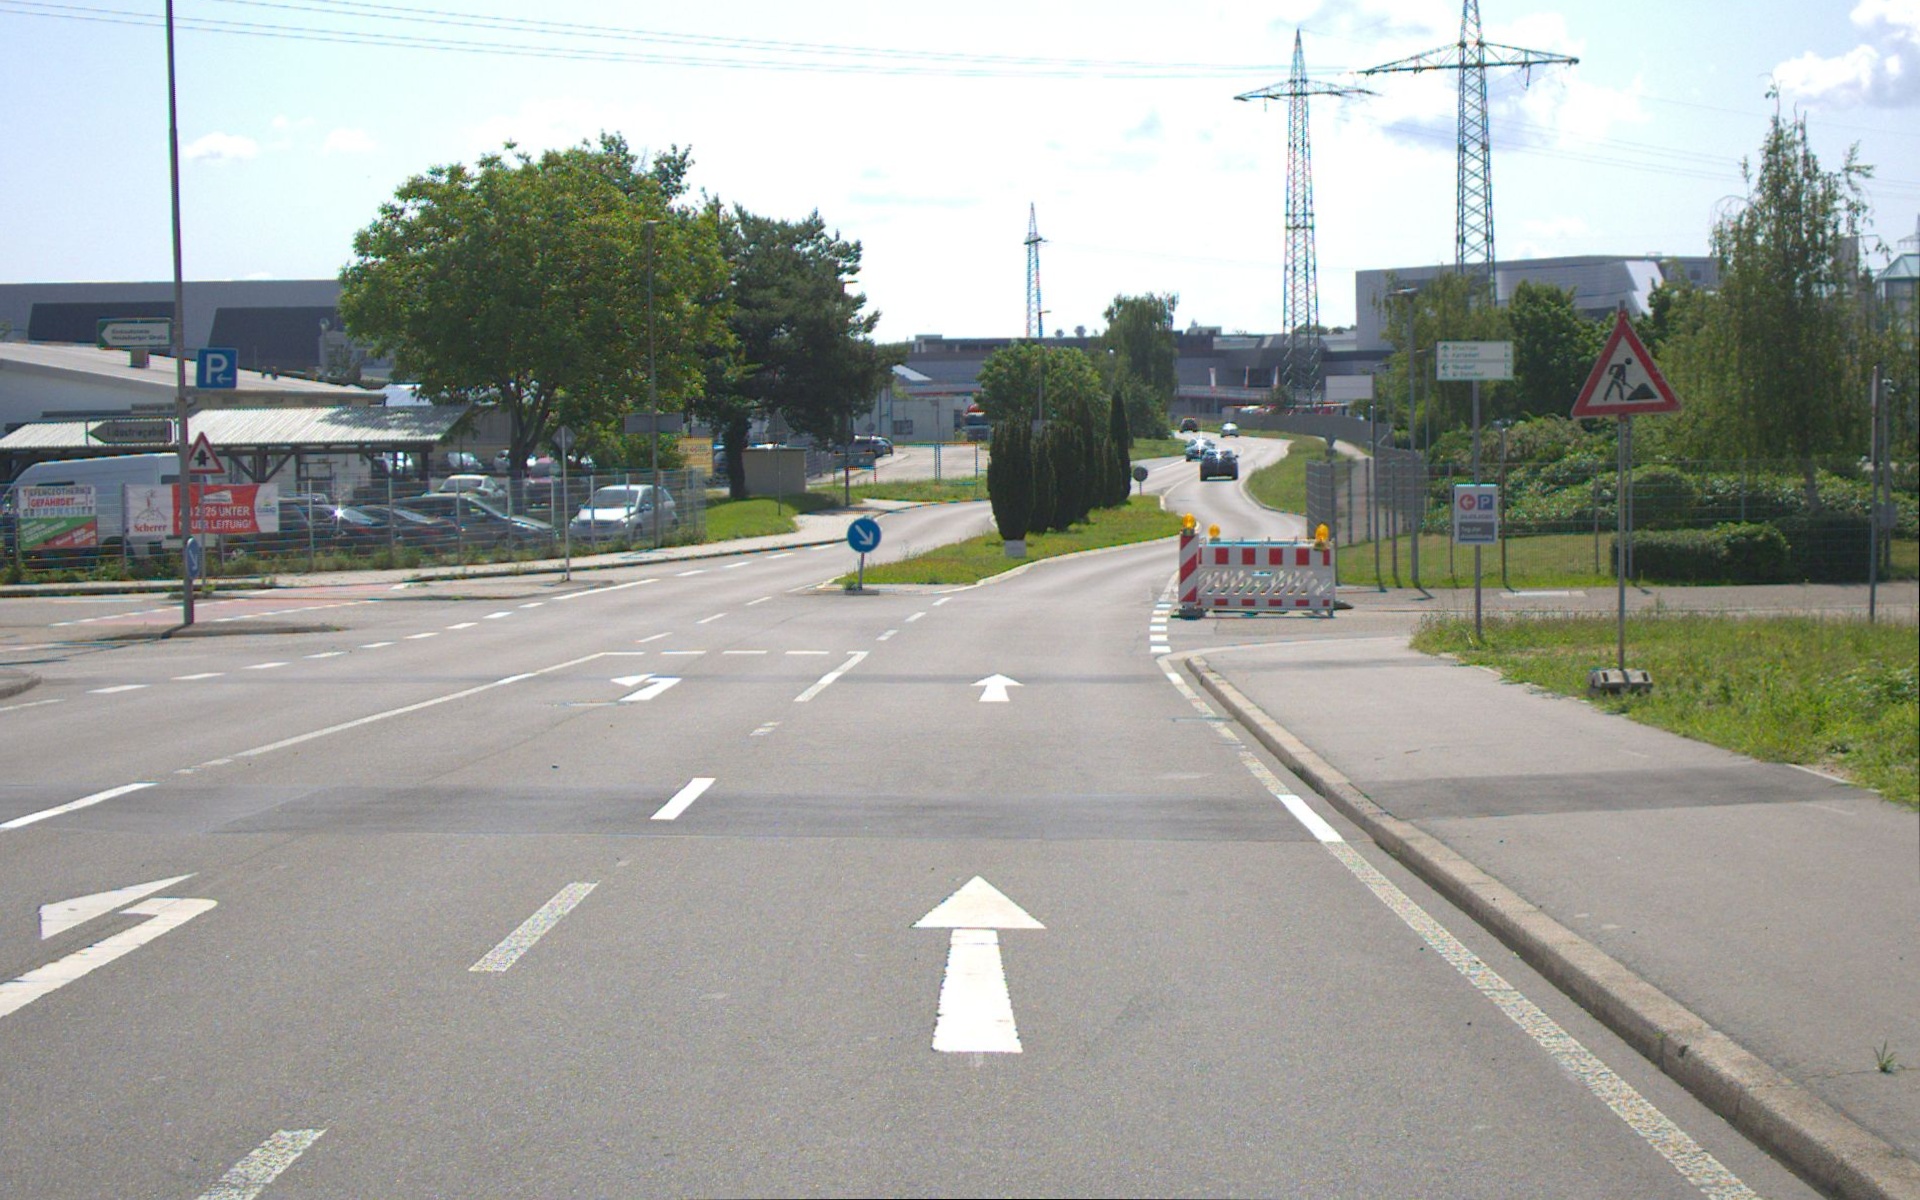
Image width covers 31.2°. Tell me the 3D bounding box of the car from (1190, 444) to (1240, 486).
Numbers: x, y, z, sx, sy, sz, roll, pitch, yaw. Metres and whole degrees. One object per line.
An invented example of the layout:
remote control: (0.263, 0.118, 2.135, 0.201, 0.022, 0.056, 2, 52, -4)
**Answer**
car: (12.544, -6.675, 169.583, 2.272, 1.940, 4.665, 3, 3, 3)

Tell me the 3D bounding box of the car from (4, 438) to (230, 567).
car: (-17.488, -2.008, 71.274, 4.358, 2.599, 1.997, 1, 2, 30)

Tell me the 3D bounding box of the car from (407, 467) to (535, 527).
car: (-15.568, -3.300, 109.403, 3.986, 1.843, 1.835, -1, 2, -9)

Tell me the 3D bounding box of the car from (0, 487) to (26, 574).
car: (-20.529, -1.378, 67.557, 3.994, 1.673, 1.997, 2, 4, 32)

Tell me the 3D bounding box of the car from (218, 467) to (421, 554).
car: (-14.062, -1.995, 75.487, 3.993, 1.774, 1.997, 2, 4, 29)

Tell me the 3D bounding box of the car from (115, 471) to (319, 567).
car: (-15.842, -1.758, 73.262, 3.994, 1.897, 1.997, 2, 4, 33)

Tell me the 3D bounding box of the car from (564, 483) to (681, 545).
car: (-8.737, -2.246, 89.173, 1.830, 1.512, 3.586, 0, 2, 16)

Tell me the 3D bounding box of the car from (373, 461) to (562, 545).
car: (-11.789, -2.339, 82.339, 3.992, 1.897, 1.998, 1, 4, 23)

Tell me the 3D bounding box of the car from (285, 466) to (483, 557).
car: (-12.982, -2.017, 77.470, 3.993, 1.897, 1.997, 2, 4, 28)

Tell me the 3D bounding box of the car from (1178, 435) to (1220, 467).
car: (15.780, -9.799, 226.460, 2.491, 2.006, 4.665, 0, 4, 7)
